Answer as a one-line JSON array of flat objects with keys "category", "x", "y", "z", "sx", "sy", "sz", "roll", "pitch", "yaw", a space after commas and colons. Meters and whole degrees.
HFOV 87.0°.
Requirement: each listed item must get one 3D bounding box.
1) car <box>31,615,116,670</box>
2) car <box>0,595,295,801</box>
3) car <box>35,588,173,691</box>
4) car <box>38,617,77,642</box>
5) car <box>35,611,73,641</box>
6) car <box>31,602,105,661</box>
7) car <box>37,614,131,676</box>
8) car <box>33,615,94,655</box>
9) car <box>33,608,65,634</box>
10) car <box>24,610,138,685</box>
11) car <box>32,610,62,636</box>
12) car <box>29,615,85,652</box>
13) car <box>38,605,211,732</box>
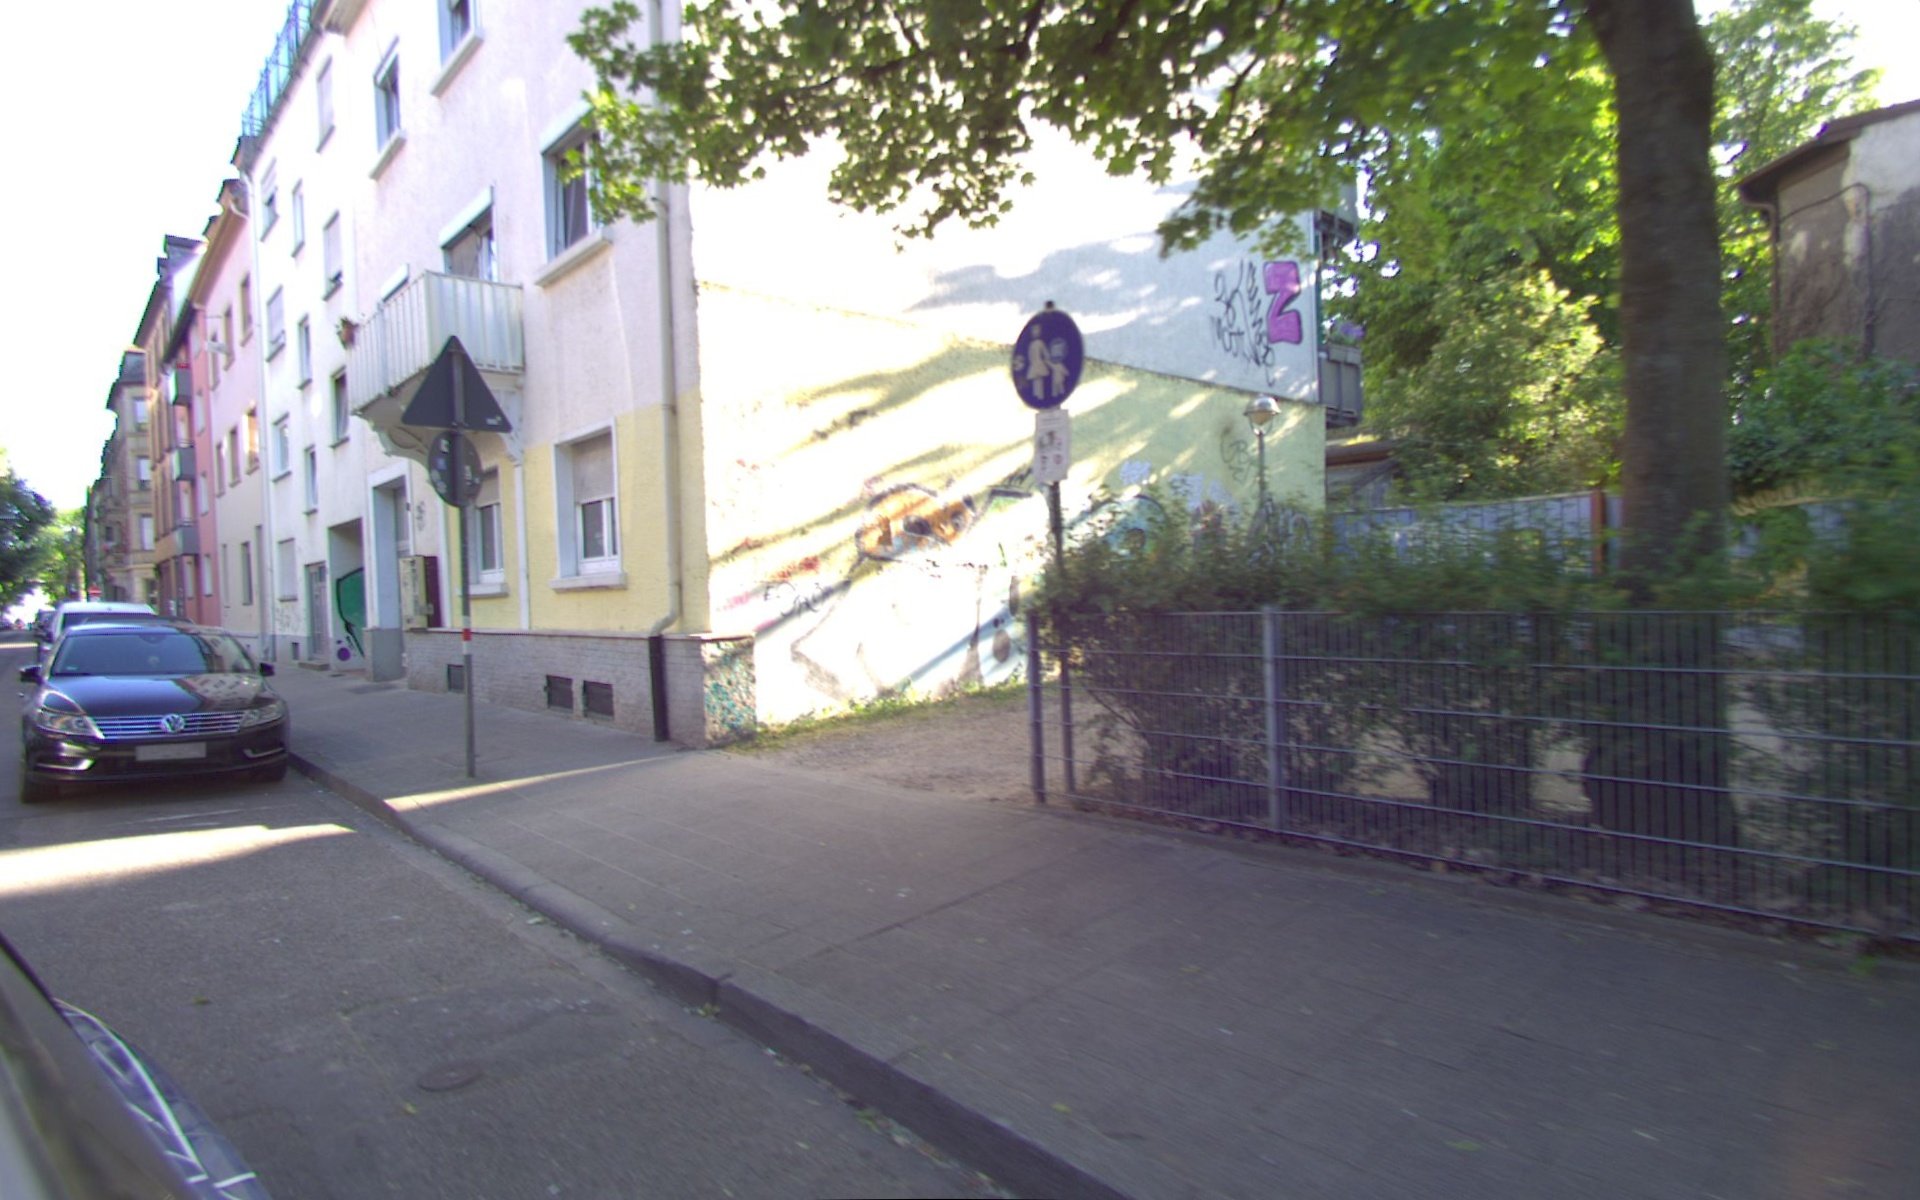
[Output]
[{"category": "car", "x": -26.019, "y": 1.199, "z": 29.671, "sx": 1.743, "sy": 1.483, "sz": 3.820, "roll": 2, "pitch": -2, "yaw": -43}, {"category": "car", "x": -7.628, "y": 0.731, "z": 9.364, "sx": 1.758, "sy": 1.454, "sz": 4.397, "roll": 2, "pitch": -2, "yaw": -43}, {"category": "car", "x": -16.452, "y": 0.707, "z": 19.372, "sx": 1.729, "sy": 1.754, "sz": 4.318, "roll": 2, "pitch": -2, "yaw": -44}, {"category": "car", "x": -55.656, "y": 1.811, "z": 62.391, "sx": 1.743, "sy": 1.483, "sz": 3.937, "roll": 2, "pitch": -2, "yaw": -43}, {"category": "car", "x": -59.371, "y": 1.679, "z": 66.293, "sx": 1.743, "sy": 1.871, "sz": 3.997, "roll": 2, "pitch": -2, "yaw": -43}, {"category": "car", "x": -29.655, "y": 1.024, "z": 33.610, "sx": 1.743, "sy": 1.838, "sz": 4.108, "roll": 2, "pitch": -2, "yaw": -43}, {"category": "car", "x": -22.782, "y": 1.109, "z": 26.269, "sx": 1.651, "sy": 1.470, "sz": 4.089, "roll": 2, "pitch": -2, "yaw": -43}, {"category": "car", "x": -36.026, "y": 1.377, "z": 40.633, "sx": 1.743, "sy": 1.545, "sz": 4.108, "roll": 2, "pitch": -2, "yaw": -43}, {"category": "car", "x": -68.967, "y": 1.566, "z": 76.611, "sx": 1.743, "sy": 1.940, "sz": 4.268, "roll": 2, "pitch": -2, "yaw": -43}, {"category": "car", "x": -19.827, "y": 1.018, "z": 22.976, "sx": 1.649, "sy": 1.539, "sz": 4.093, "roll": 1, "pitch": -2, "yaw": -37}, {"category": "car", "x": -73.540, "y": 1.838, "z": 81.520, "sx": 1.743, "sy": 2.103, "sz": 4.268, "roll": 2, "pitch": -2, "yaw": -43}, {"category": "car", "x": -39.994, "y": 1.466, "z": 44.788, "sx": 1.743, "sy": 1.545, "sz": 4.108, "roll": 2, "pitch": -2, "yaw": -43}, {"category": "car", "x": -11.089, "y": 0.818, "z": 13.515, "sx": 1.573, "sy": 1.462, "sz": 3.492, "roll": 2, "pitch": -2, "yaw": -39}]
